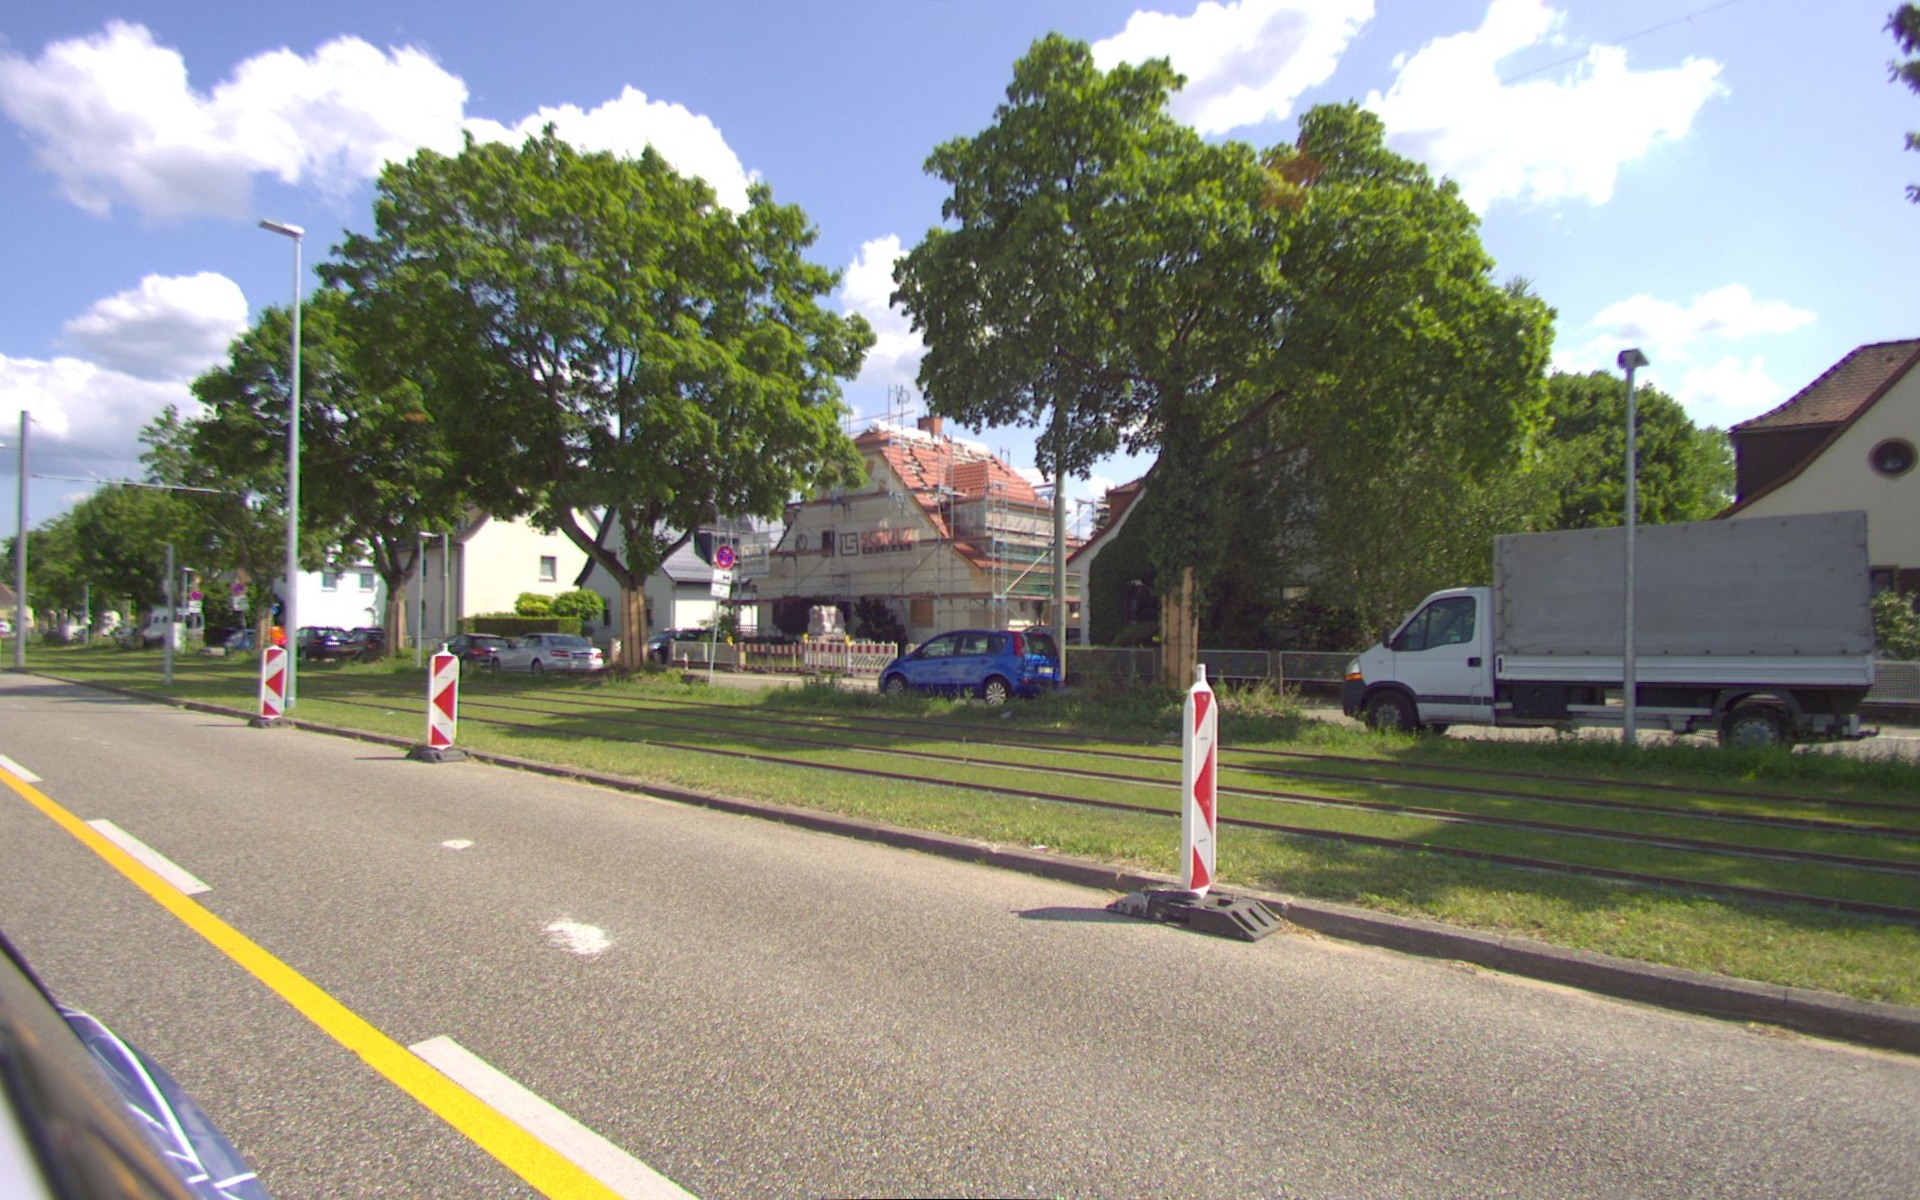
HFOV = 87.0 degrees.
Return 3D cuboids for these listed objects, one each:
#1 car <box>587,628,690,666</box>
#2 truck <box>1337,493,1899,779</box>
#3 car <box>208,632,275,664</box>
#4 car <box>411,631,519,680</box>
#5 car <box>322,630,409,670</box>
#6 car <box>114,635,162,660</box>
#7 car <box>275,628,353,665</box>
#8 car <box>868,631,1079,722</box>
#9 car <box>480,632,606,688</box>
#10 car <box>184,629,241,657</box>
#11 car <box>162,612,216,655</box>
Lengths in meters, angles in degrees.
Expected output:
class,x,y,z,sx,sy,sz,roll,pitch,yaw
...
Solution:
class,x,y,z,sx,sy,sz,roll,pitch,yaw
car,-14.081,2.047,44.505,1.756,1.623,3.995,-2,-3,41
truck,8.276,0.464,13.353,5.871,3.010,1.982,-2,-3,41
car,-37.644,2.469,52.976,4.603,1.623,1.733,-2,-3,40
car,-17.613,1.915,35.929,4.603,1.623,1.733,-2,-3,40
car,-25.182,2.074,42.824,4.603,1.623,1.733,-2,-3,40
car,-57.022,3.269,70.147,4.603,1.623,1.733,-2,-3,40
car,-29.601,2.099,46.328,4.603,1.623,1.733,-2,-3,40
car,0.204,1.442,20.171,4.047,1.623,1.733,-2,-3,40
car,-13.172,1.830,31.858,4.603,1.623,1.733,-2,-3,40
car,-44.644,2.554,60.401,4.603,1.623,1.733,-2,-3,40
car,-48.822,2.107,64.086,4.603,2.636,1.733,-2,-3,40
